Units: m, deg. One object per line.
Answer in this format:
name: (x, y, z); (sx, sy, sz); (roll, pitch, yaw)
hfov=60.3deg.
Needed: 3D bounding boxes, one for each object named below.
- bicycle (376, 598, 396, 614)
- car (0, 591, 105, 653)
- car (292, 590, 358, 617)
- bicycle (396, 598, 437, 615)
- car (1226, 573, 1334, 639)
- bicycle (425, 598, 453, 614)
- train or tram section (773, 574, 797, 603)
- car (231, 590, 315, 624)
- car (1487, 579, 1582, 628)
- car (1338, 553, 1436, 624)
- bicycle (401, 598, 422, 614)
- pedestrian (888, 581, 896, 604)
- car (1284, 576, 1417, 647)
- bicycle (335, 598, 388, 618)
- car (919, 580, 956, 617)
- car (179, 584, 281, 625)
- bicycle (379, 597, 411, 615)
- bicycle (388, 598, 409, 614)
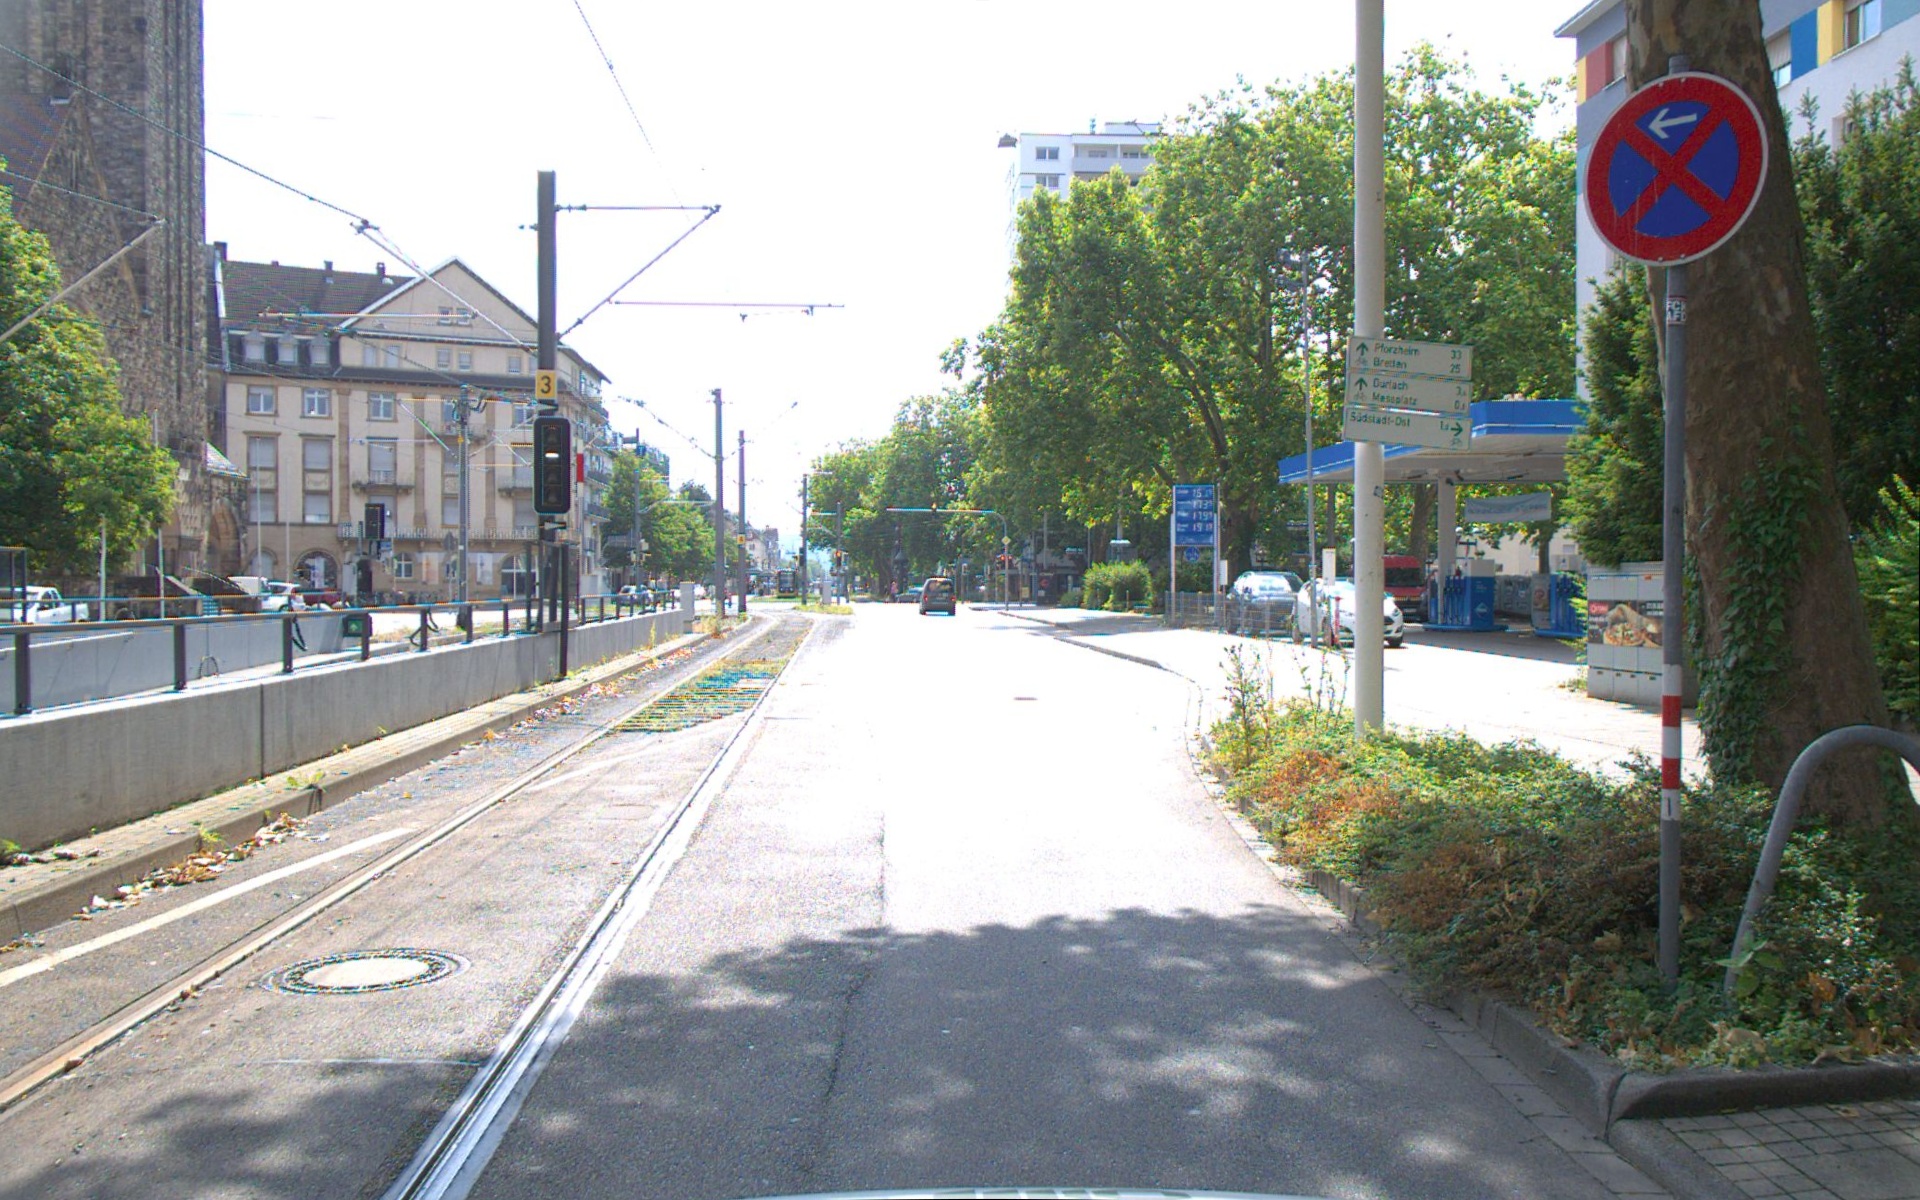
bicycle: (-38.701, 0.390, 111.522); (0.733, 1.071, 2.537); (-1, 0, -32)
car: (-24.378, 0.530, 43.413); (1.893, 1.531, 4.409); (0, 0, -6)
car: (-41.658, 0.230, 108.565); (3.911, 1.703, 1.997); (0, 0, 29)
bicycle: (-36.442, 0.423, 110.892); (2.532, 1.071, 0.675); (-1, 0, -32)
car: (8.359, 0.136, 43.600); (1.770, 1.630, 4.580); (0, 0, -3)
bicycle: (-35.673, 0.424, 113.268); (0.786, 1.071, 2.568); (0, 0, 8)
train or tram section: (-20.724, -1.343, 196.102); (2.196, 3.389, 12.962); (0, 0, -3)
car: (-32.357, 0.317, 77.987); (3.202, 1.528, 1.852); (0, 0, -6)
car: (22.359, 0.116, 64.569); (1.966, 1.785, 4.650); (1, 0, -2)
car: (16.614, -0.466, 64.631); (2.069, 2.627, 6.017); (0, 0, -2)
bicycle: (-37.279, 0.410, 112.388); (0.796, 1.071, 2.537); (-1, 0, -32)
pedestrian: (-5.538, -0.608, 134.155); (0.646, 1.815, 0.660); (0, 0, -4)
car: (8.621, 0.229, 36.837); (1.770, 1.481, 3.998); (0, 0, -4)
bicycle: (-39.737, 0.508, 109.775); (3.239, 1.275, 1.000); (0, 0, 13)
car: (-1.178, -0.096, 84.721); (1.716, 1.840, 3.472); (1, 0, -3)
car: (-32.901, 0.185, 74.662); (3.796, 1.779, 1.892); (0, 0, -7)
bicycle: (-37.347, 0.409, 109.410); (1.958, 1.134, 0.480); (-1, 0, -41)
bicycle: (-37.994, 0.400, 111.927); (0.796, 1.071, 2.537); (-1, 0, -32)
